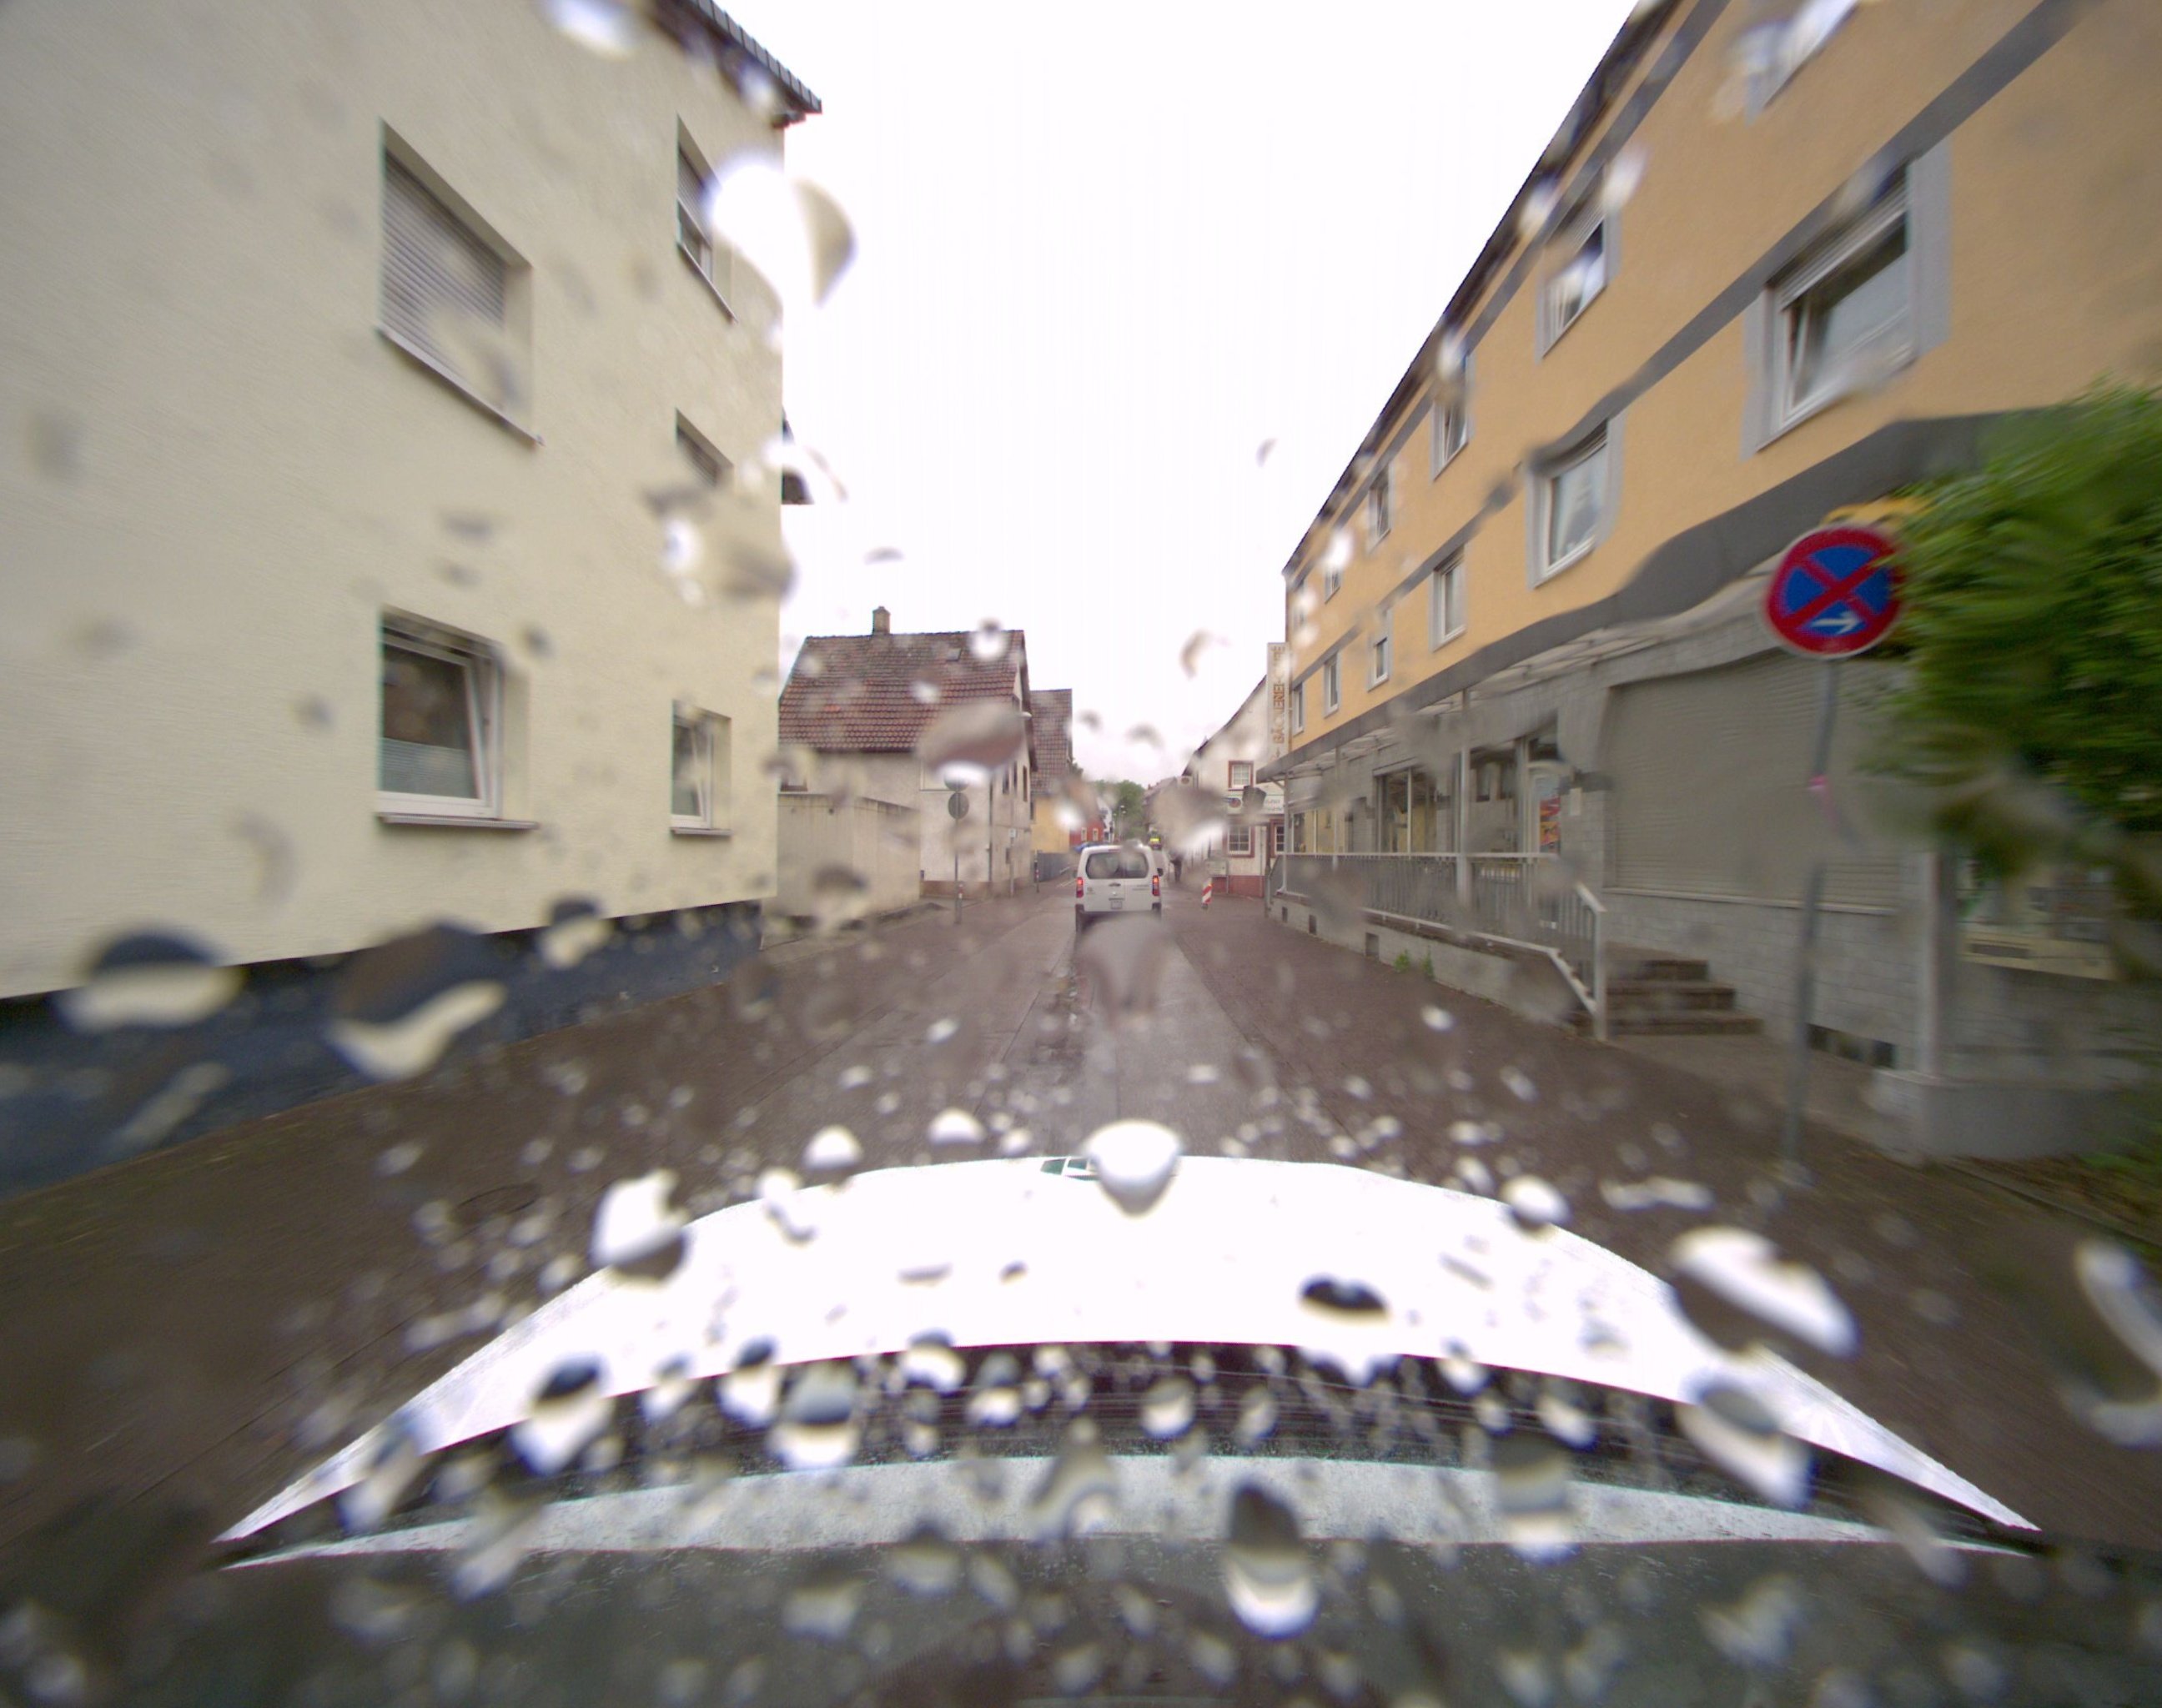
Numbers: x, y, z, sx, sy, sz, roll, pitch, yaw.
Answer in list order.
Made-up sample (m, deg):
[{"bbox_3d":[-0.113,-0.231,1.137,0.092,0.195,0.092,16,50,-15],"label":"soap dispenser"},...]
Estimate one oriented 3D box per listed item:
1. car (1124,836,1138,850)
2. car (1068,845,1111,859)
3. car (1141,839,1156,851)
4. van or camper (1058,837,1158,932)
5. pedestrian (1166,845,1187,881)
[{"bbox_3d":[6.552,-1.455,106.305,1.804,1.779,4.022,0,2,4],"label":"car"},{"bbox_3d":[0.881,-0.193,83.485,4.014,1.373,2.089,0,0,-32],"label":"car"},{"bbox_3d":[9.943,-1.252,120.309,1.985,1.747,4.003,0,0,3],"label":"car"},{"bbox_3d":[0.648,0.608,18.057,1.935,1.851,4.003,-1,0,3],"label":"van or camper"},{"bbox_3d":[4.702,0.429,39.952,0.988,1.735,0.813,1,2,8],"label":"pedestrian"}]
